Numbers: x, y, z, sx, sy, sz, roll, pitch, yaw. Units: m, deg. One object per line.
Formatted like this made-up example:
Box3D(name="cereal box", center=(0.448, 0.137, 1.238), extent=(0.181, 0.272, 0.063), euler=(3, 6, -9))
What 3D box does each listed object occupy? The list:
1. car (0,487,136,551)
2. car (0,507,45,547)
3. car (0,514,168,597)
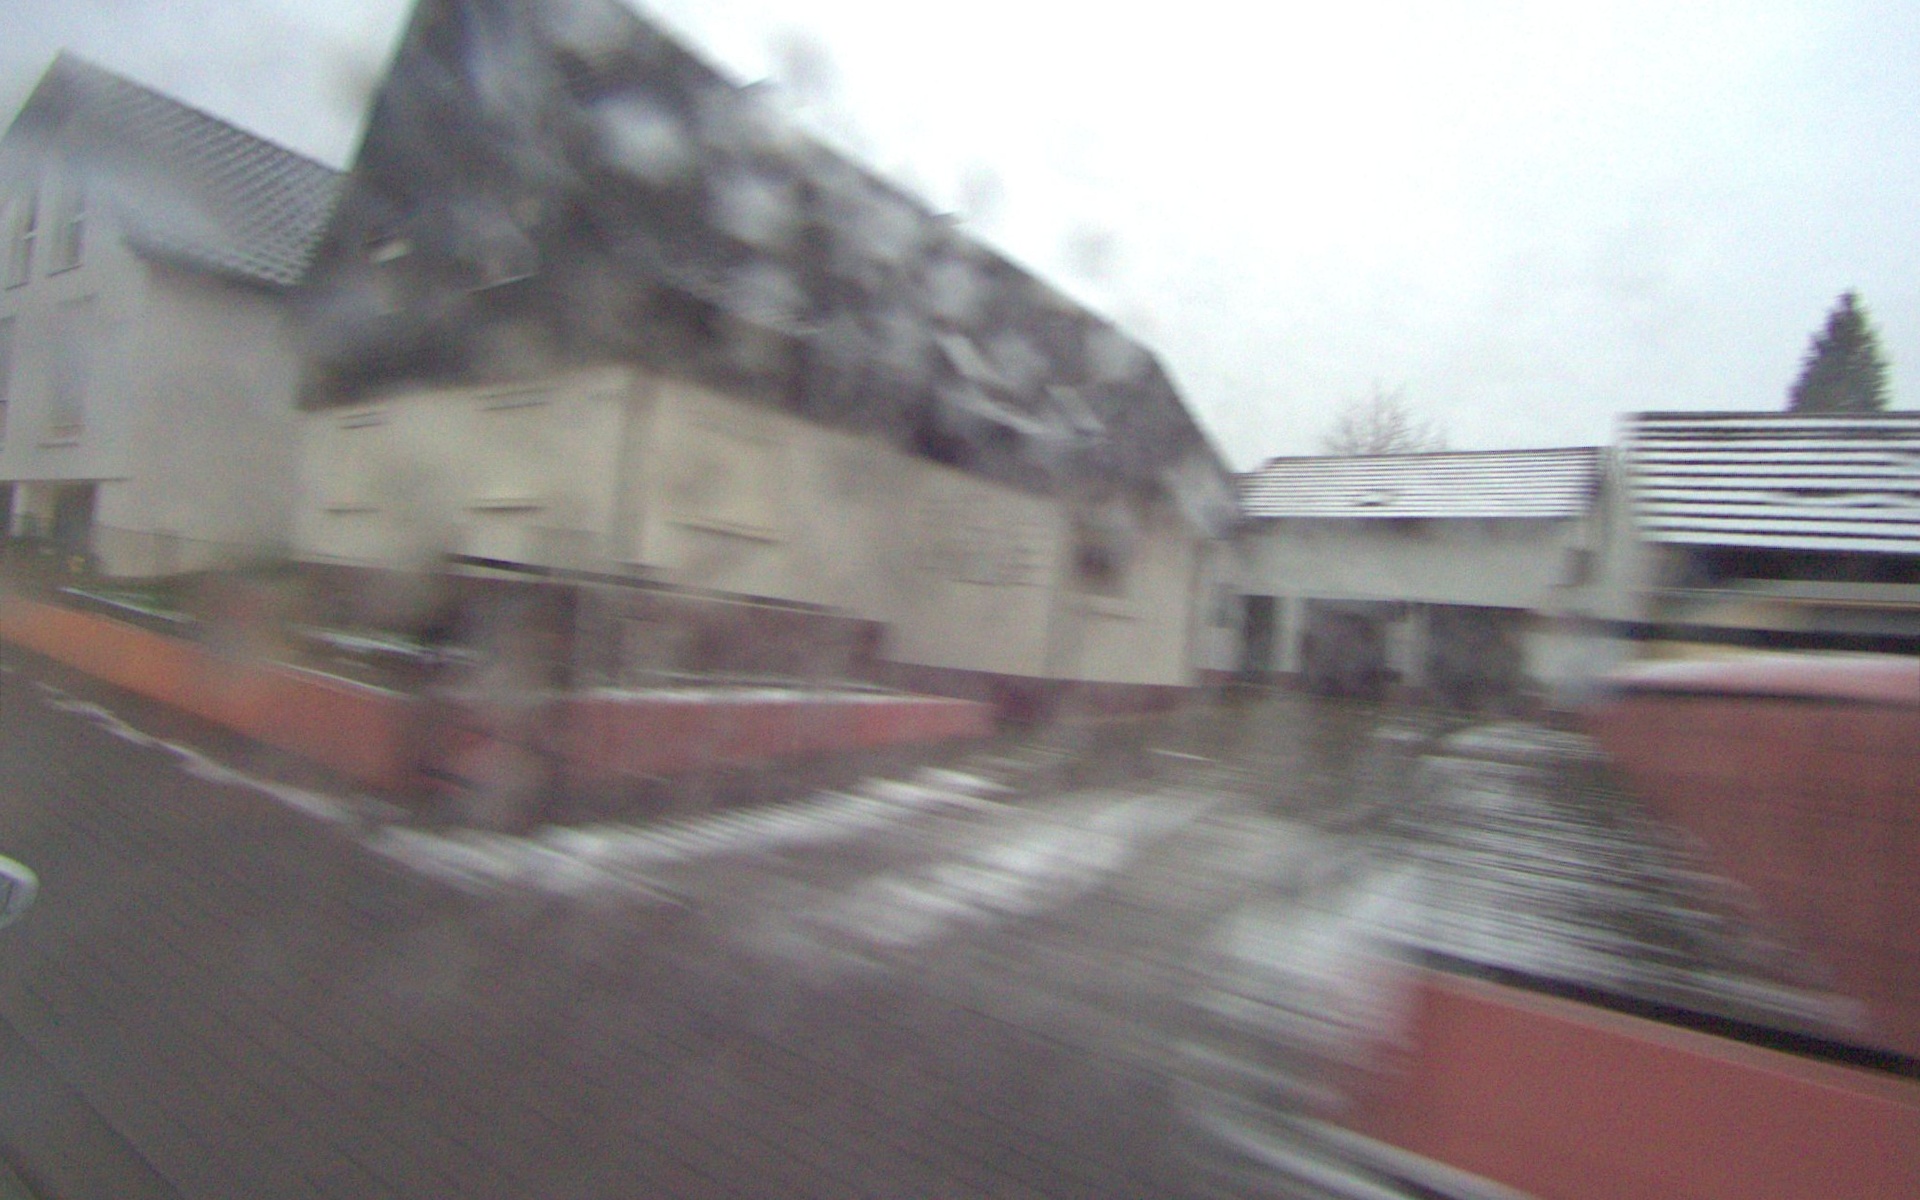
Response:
Box3D(name="car", center=(-22.749, -1.951, 24.143), extent=(1.753, 1.479, 4.266), euler=(6, 6, 37))
Box3D(name="car", center=(-39.945, -3.157, 40.500), extent=(4.489, 1.462, 1.975), euler=(6, 0, -44))
Box3D(name="car", center=(-19.567, -0.993, 21.309), extent=(1.662, 1.475, 3.990), euler=(6, 0, 32))
